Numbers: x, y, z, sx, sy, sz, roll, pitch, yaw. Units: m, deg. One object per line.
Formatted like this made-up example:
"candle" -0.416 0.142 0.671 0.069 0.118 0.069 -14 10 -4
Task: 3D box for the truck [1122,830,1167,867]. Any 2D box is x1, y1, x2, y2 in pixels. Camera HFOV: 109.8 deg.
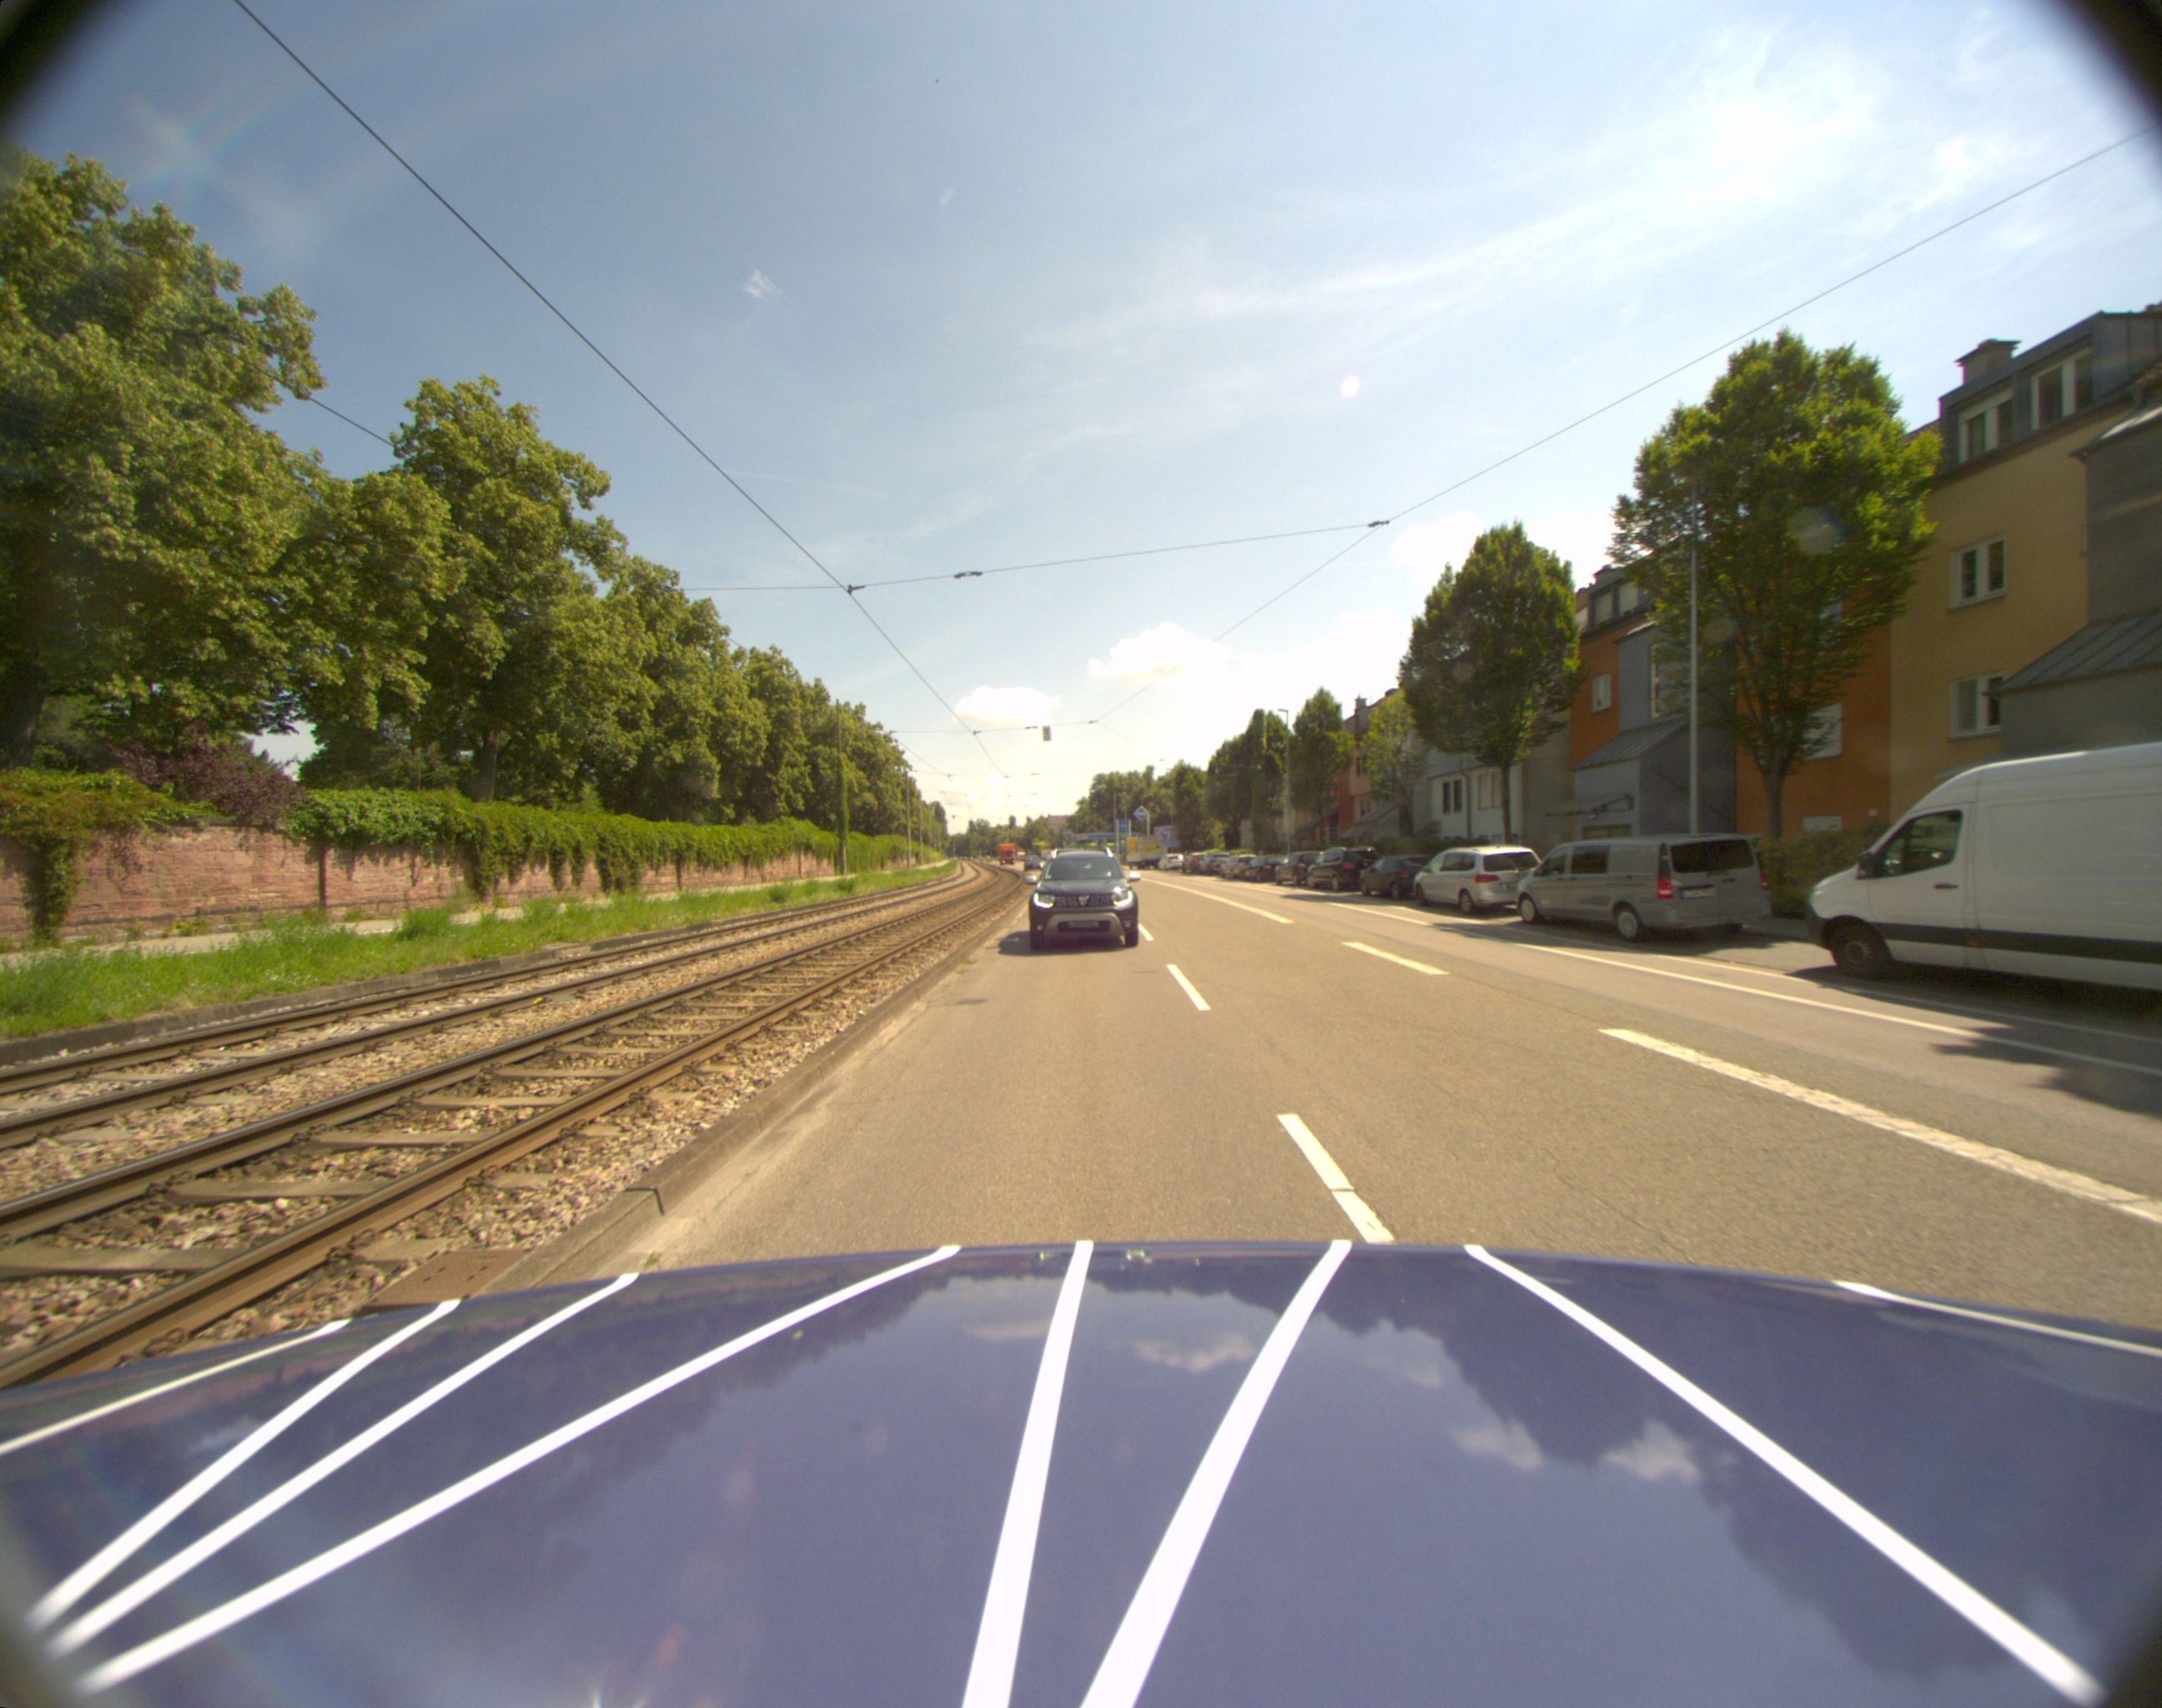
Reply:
"truck" 6.600 -0.540 80.556 2.840 3.528 8.165 -3 0 -8

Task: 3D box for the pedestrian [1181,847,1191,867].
"pedestrian" 9.914 0.292 71.913 0.642 1.911 0.710 0 1 36

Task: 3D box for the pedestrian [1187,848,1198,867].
"pedestrian" 10.439 0.316 71.169 0.685 1.784 0.702 -1 1 -34

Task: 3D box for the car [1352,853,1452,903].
"car" 10.910 0.750 26.174 1.603 1.463 4.085 -1 1 -2

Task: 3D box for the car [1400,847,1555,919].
"car" 10.722 0.691 21.000 1.721 1.742 4.903 -1 0 0

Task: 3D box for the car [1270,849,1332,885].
"car" 10.625 0.574 36.998 1.660 1.608 4.284 0 1 -2

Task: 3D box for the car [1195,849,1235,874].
"car" 9.570 0.524 54.487 1.660 1.600 4.685 -3 0 -4

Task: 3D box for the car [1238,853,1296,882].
"car" 10.413 0.714 42.905 1.746 1.438 4.962 -2 0 -3

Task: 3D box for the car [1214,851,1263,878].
"car" 10.127 0.623 49.228 1.660 1.500 4.893 -4 1 -5

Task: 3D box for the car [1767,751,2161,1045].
"car" 10.808 0.310 7.162 2.329 2.635 7.035 -5 0 2

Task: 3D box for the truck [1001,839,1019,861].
"truck" -12.423 -0.698 132.425 2.847 3.574 8.699 -1 1 -7

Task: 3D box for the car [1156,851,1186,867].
"car" 8.144 0.408 68.826 1.661 1.402 4.394 -1 0 -8

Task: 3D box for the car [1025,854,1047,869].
"car" -4.593 0.751 77.081 1.999 1.346 3.998 2 0 -5

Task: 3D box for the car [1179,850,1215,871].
"car" 9.151 0.471 60.296 1.661 1.600 4.170 -1 1 -8

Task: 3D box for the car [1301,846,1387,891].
"car" 10.791 0.561 31.597 1.755 1.706 4.886 -1 0 -2

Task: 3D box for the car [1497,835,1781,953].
"car" 10.812 0.655 15.402 1.811 1.884 5.362 -3 0 1

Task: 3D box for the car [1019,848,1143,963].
"car" 0.023 0.776 14.037 1.801 1.652 4.787 -4 0 1

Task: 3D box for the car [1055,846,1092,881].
"car" -0.435 0.465 39.932 1.802 1.683 4.143 -1 0 -2

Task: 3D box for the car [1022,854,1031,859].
"car" -14.132 0.602 197.133 2.000 1.379 3.998 -1 0 -6
